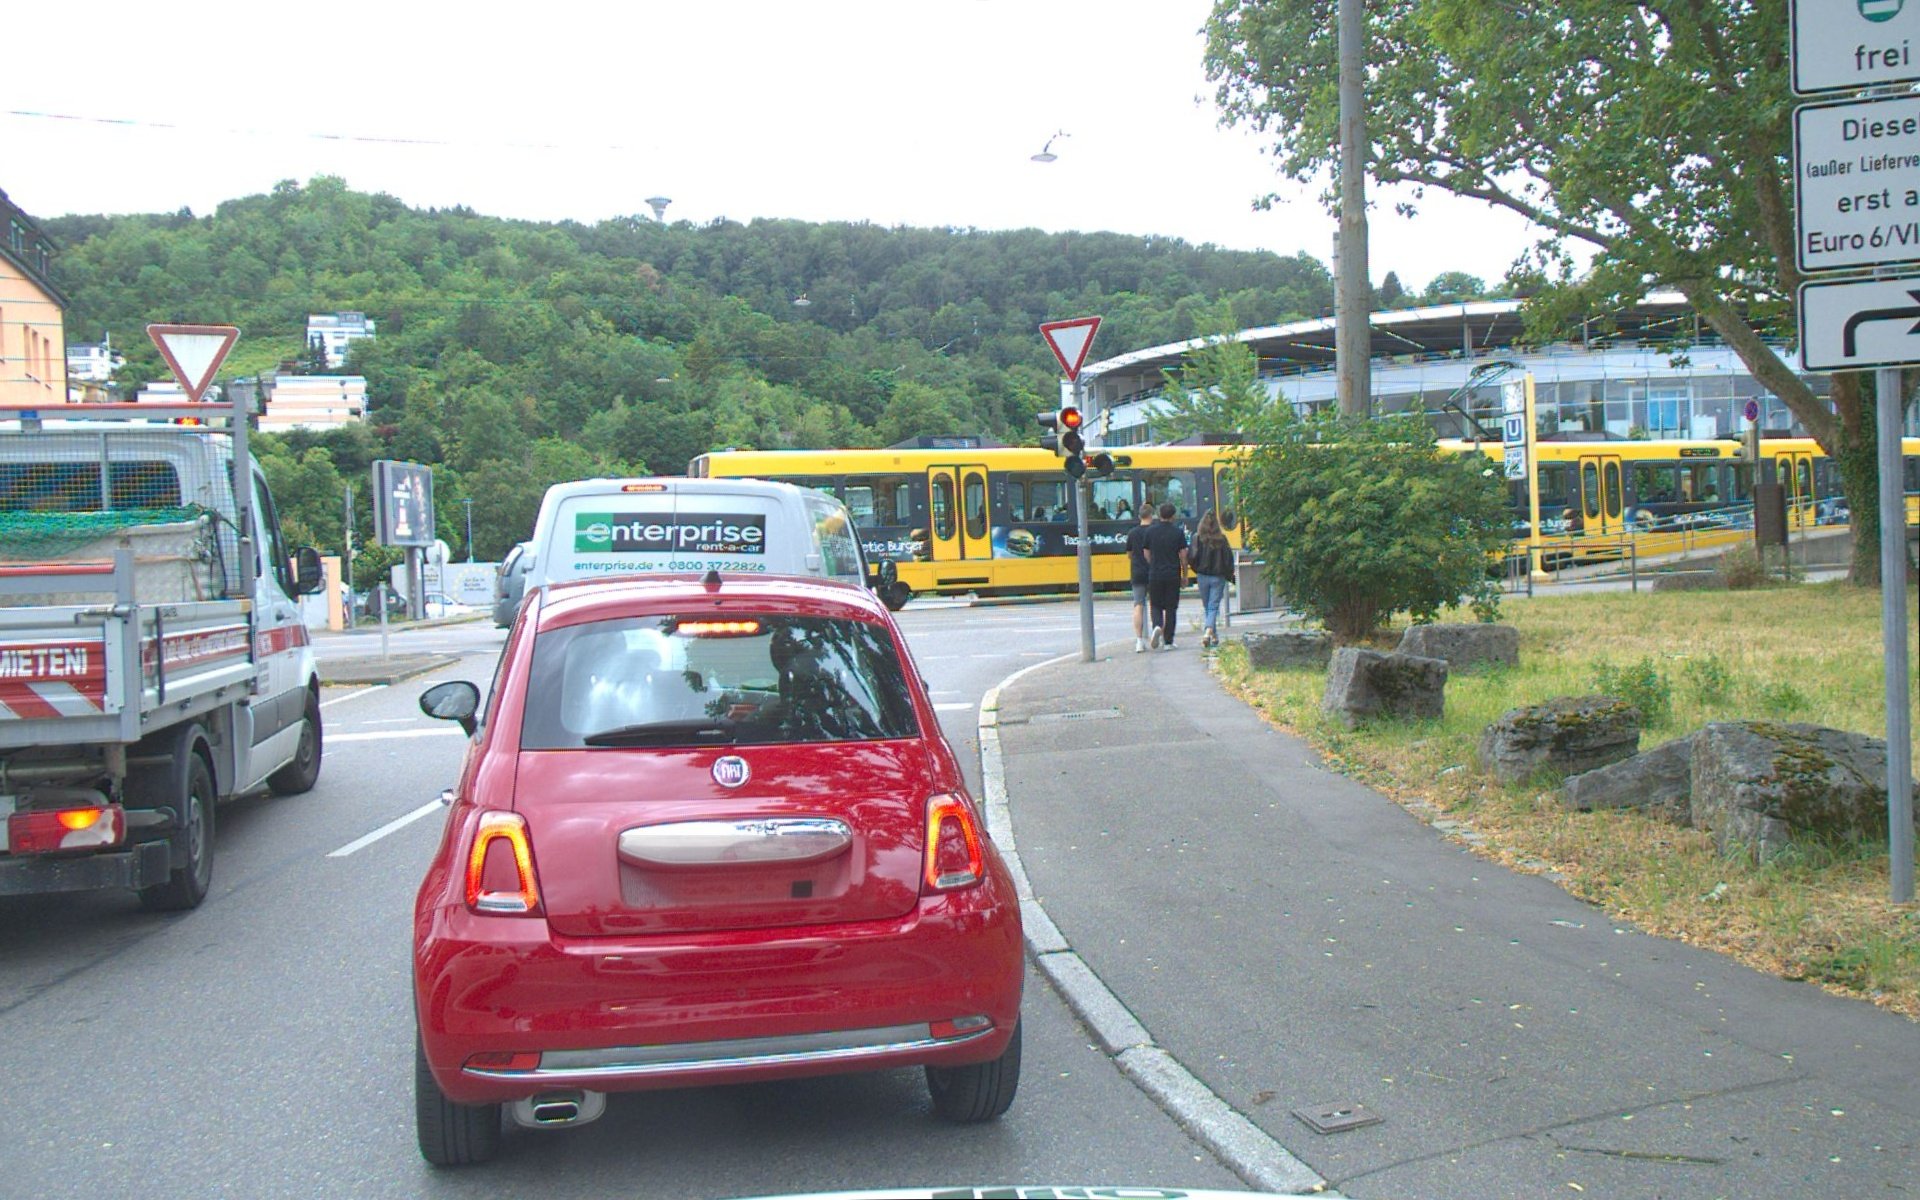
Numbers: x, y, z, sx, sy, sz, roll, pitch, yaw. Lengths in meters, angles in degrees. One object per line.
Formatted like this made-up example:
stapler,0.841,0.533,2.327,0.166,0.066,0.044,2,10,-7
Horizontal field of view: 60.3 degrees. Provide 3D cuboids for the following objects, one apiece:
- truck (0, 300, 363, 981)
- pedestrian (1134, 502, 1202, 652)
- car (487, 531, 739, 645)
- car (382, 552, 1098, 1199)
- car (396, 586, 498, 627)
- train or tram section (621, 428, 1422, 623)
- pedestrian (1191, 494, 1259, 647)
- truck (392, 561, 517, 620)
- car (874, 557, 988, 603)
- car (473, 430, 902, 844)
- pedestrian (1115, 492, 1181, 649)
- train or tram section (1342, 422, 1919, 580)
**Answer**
truck,-4.815,0.147,8.691,2.381,2.439,6.008,-3,1,-14
pedestrian,2.514,-0.279,19.944,0.678,1.744,0.789,-2,1,12
car,-5.638,-0.216,26.831,3.813,1.611,1.796,-3,2,-16
car,-0.807,0.624,5.513,1.610,1.482,3.421,-2,1,-12
car,-22.478,0.278,72.639,4.135,1.560,1.768,-3,2,-16
train or tram section,1.915,-1.881,38.426,18.843,3.729,3.257,-3,2,-22
pedestrian,3.174,-0.356,19.748,0.678,1.770,0.789,-2,1,13
truck,-23.137,-0.449,75.758,5.127,2.434,1.981,-3,2,-29
car,-1.065,-0.735,61.146,3.787,1.526,1.777,-2,1,16
car,-1.557,0.141,11.320,1.948,2.143,4.763,-3,1,1
pedestrian,2.353,-0.375,20.628,0.678,1.889,0.789,-2,1,11
train or tram section,19.314,-2.840,45.661,18.859,3.729,3.254,-3,2,-24
